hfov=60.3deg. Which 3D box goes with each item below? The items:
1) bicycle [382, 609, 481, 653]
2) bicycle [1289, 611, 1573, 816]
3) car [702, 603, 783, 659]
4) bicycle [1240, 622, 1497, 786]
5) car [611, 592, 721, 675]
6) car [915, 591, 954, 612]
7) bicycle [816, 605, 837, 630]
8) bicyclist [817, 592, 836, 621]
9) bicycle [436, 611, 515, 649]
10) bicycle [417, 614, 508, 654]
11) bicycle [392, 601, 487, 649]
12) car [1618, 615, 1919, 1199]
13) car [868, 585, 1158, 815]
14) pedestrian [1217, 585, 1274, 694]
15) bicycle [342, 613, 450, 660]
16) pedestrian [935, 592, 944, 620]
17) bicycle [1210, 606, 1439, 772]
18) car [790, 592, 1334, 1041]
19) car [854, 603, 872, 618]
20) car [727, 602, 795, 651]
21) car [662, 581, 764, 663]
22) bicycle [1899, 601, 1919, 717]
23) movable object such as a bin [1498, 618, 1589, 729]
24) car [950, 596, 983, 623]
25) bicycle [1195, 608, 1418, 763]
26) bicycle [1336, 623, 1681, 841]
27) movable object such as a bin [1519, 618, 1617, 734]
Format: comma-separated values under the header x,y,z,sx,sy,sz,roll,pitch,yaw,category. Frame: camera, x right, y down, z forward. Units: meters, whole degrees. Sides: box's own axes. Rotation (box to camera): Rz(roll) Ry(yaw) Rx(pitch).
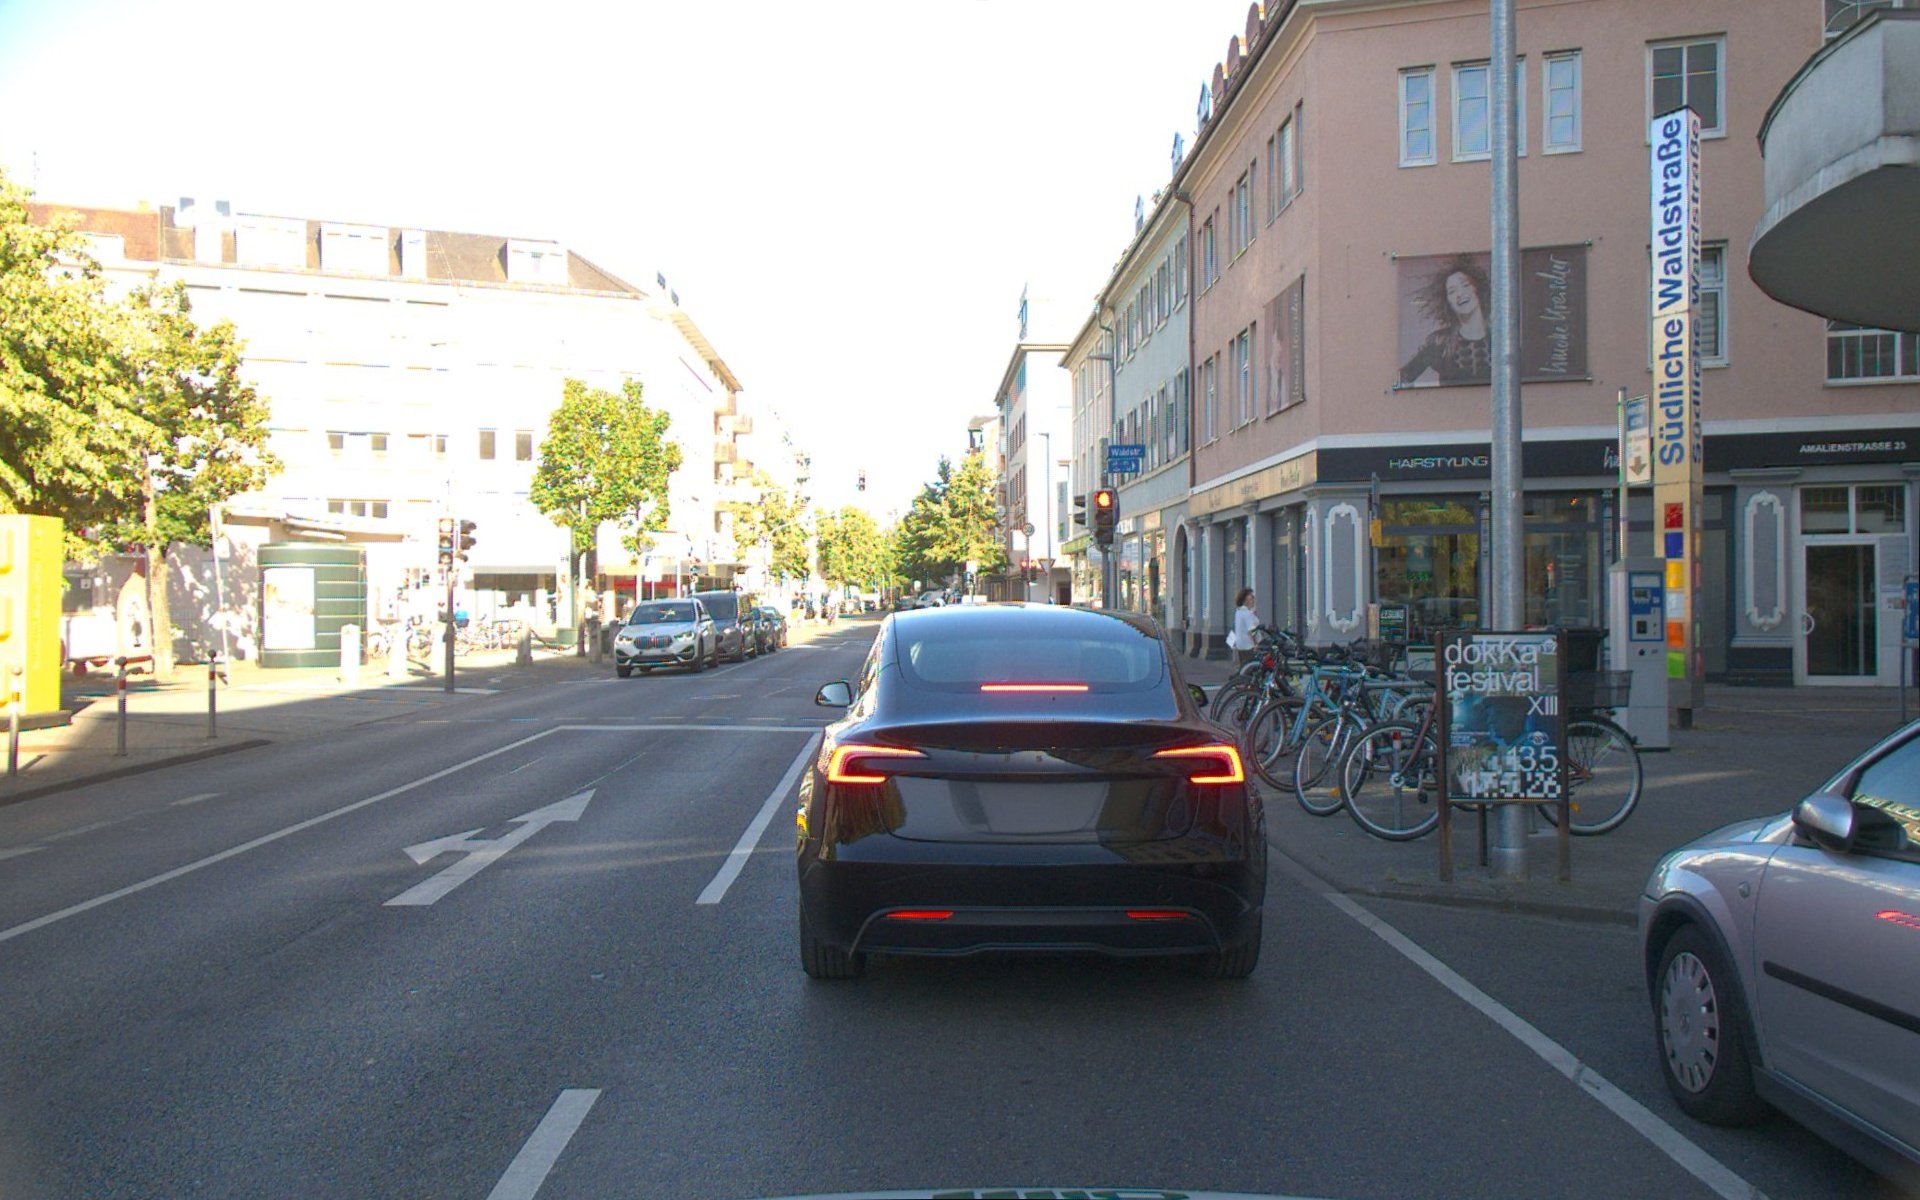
x,y,z,sx,sy,sz,roll,pitch,yaw,category
-14.337,0.838,44.880,2.412,1.176,0.842,0,0,-2,bicycle
3.138,0.747,11.159,1.686,1.290,0.791,-2,0,5,bicycle
-6.422,0.882,49.326,1.954,1.434,4.671,-4,0,-3,car
3.055,0.769,12.509,1.760,1.144,0.782,-2,0,5,bicycle
-6.383,0.685,36.278,1.771,1.582,4.307,-4,0,-3,car
-2.568,0.158,167.518,3.907,2.049,1.999,0,0,-2,car
-7.698,0.997,95.403,1.089,1.368,3.997,0,0,-4,bicycle
-7.714,0.370,95.496,1.104,1.657,0.964,0,0,-4,bicyclist
-15.214,0.938,51.990,2.279,1.176,0.841,0,0,-6,bicycle
-14.890,1.012,49.567,2.485,1.176,0.841,0,0,-6,bicycle
-14.712,0.694,46.813,2.429,1.347,0.921,0,0,-6,bicycle
2.929,0.776,3.519,1.580,1.406,3.642,1,0,0,car
0.286,0.665,13.207,1.953,1.538,4.173,0,0,-2,car
4.185,0.568,24.300,0.731,1.579,0.699,0,0,2,pedestrian
-14.419,0.919,42.347,2.455,1.176,0.842,0,0,-2,bicycle
-1.490,0.475,121.735,0.628,2.049,0.690,0,0,-5,pedestrian
2.986,0.719,13.687,1.709,1.289,0.781,-2,0,2,bicycle
0.313,0.721,7.498,1.810,1.480,3.999,0,0,-1,car
-10.981,1.211,186.894,1.954,1.666,3.997,0,0,-4,car
-6.805,0.870,56.911,1.954,1.461,4.671,-4,0,-3,car
-6.276,0.529,42.505,1.797,1.877,4.674,-4,0,0,car
10.289,0.615,17.012,0.645,1.220,2.212,0,0,18,bicycle
6.022,0.749,17.103,0.718,1.111,0.627,1,0,1,movable object such as a bin
0.400,0.564,100.795,1.953,1.657,3.999,0,0,-1,car
3.051,0.746,14.718,1.822,1.280,0.833,-2,0,5,bicycle
3.284,0.781,10.029,1.846,1.214,0.692,-2,1,5,bicycle
6.043,0.746,16.466,0.737,1.111,0.627,1,0,1,movable object such as a bin
